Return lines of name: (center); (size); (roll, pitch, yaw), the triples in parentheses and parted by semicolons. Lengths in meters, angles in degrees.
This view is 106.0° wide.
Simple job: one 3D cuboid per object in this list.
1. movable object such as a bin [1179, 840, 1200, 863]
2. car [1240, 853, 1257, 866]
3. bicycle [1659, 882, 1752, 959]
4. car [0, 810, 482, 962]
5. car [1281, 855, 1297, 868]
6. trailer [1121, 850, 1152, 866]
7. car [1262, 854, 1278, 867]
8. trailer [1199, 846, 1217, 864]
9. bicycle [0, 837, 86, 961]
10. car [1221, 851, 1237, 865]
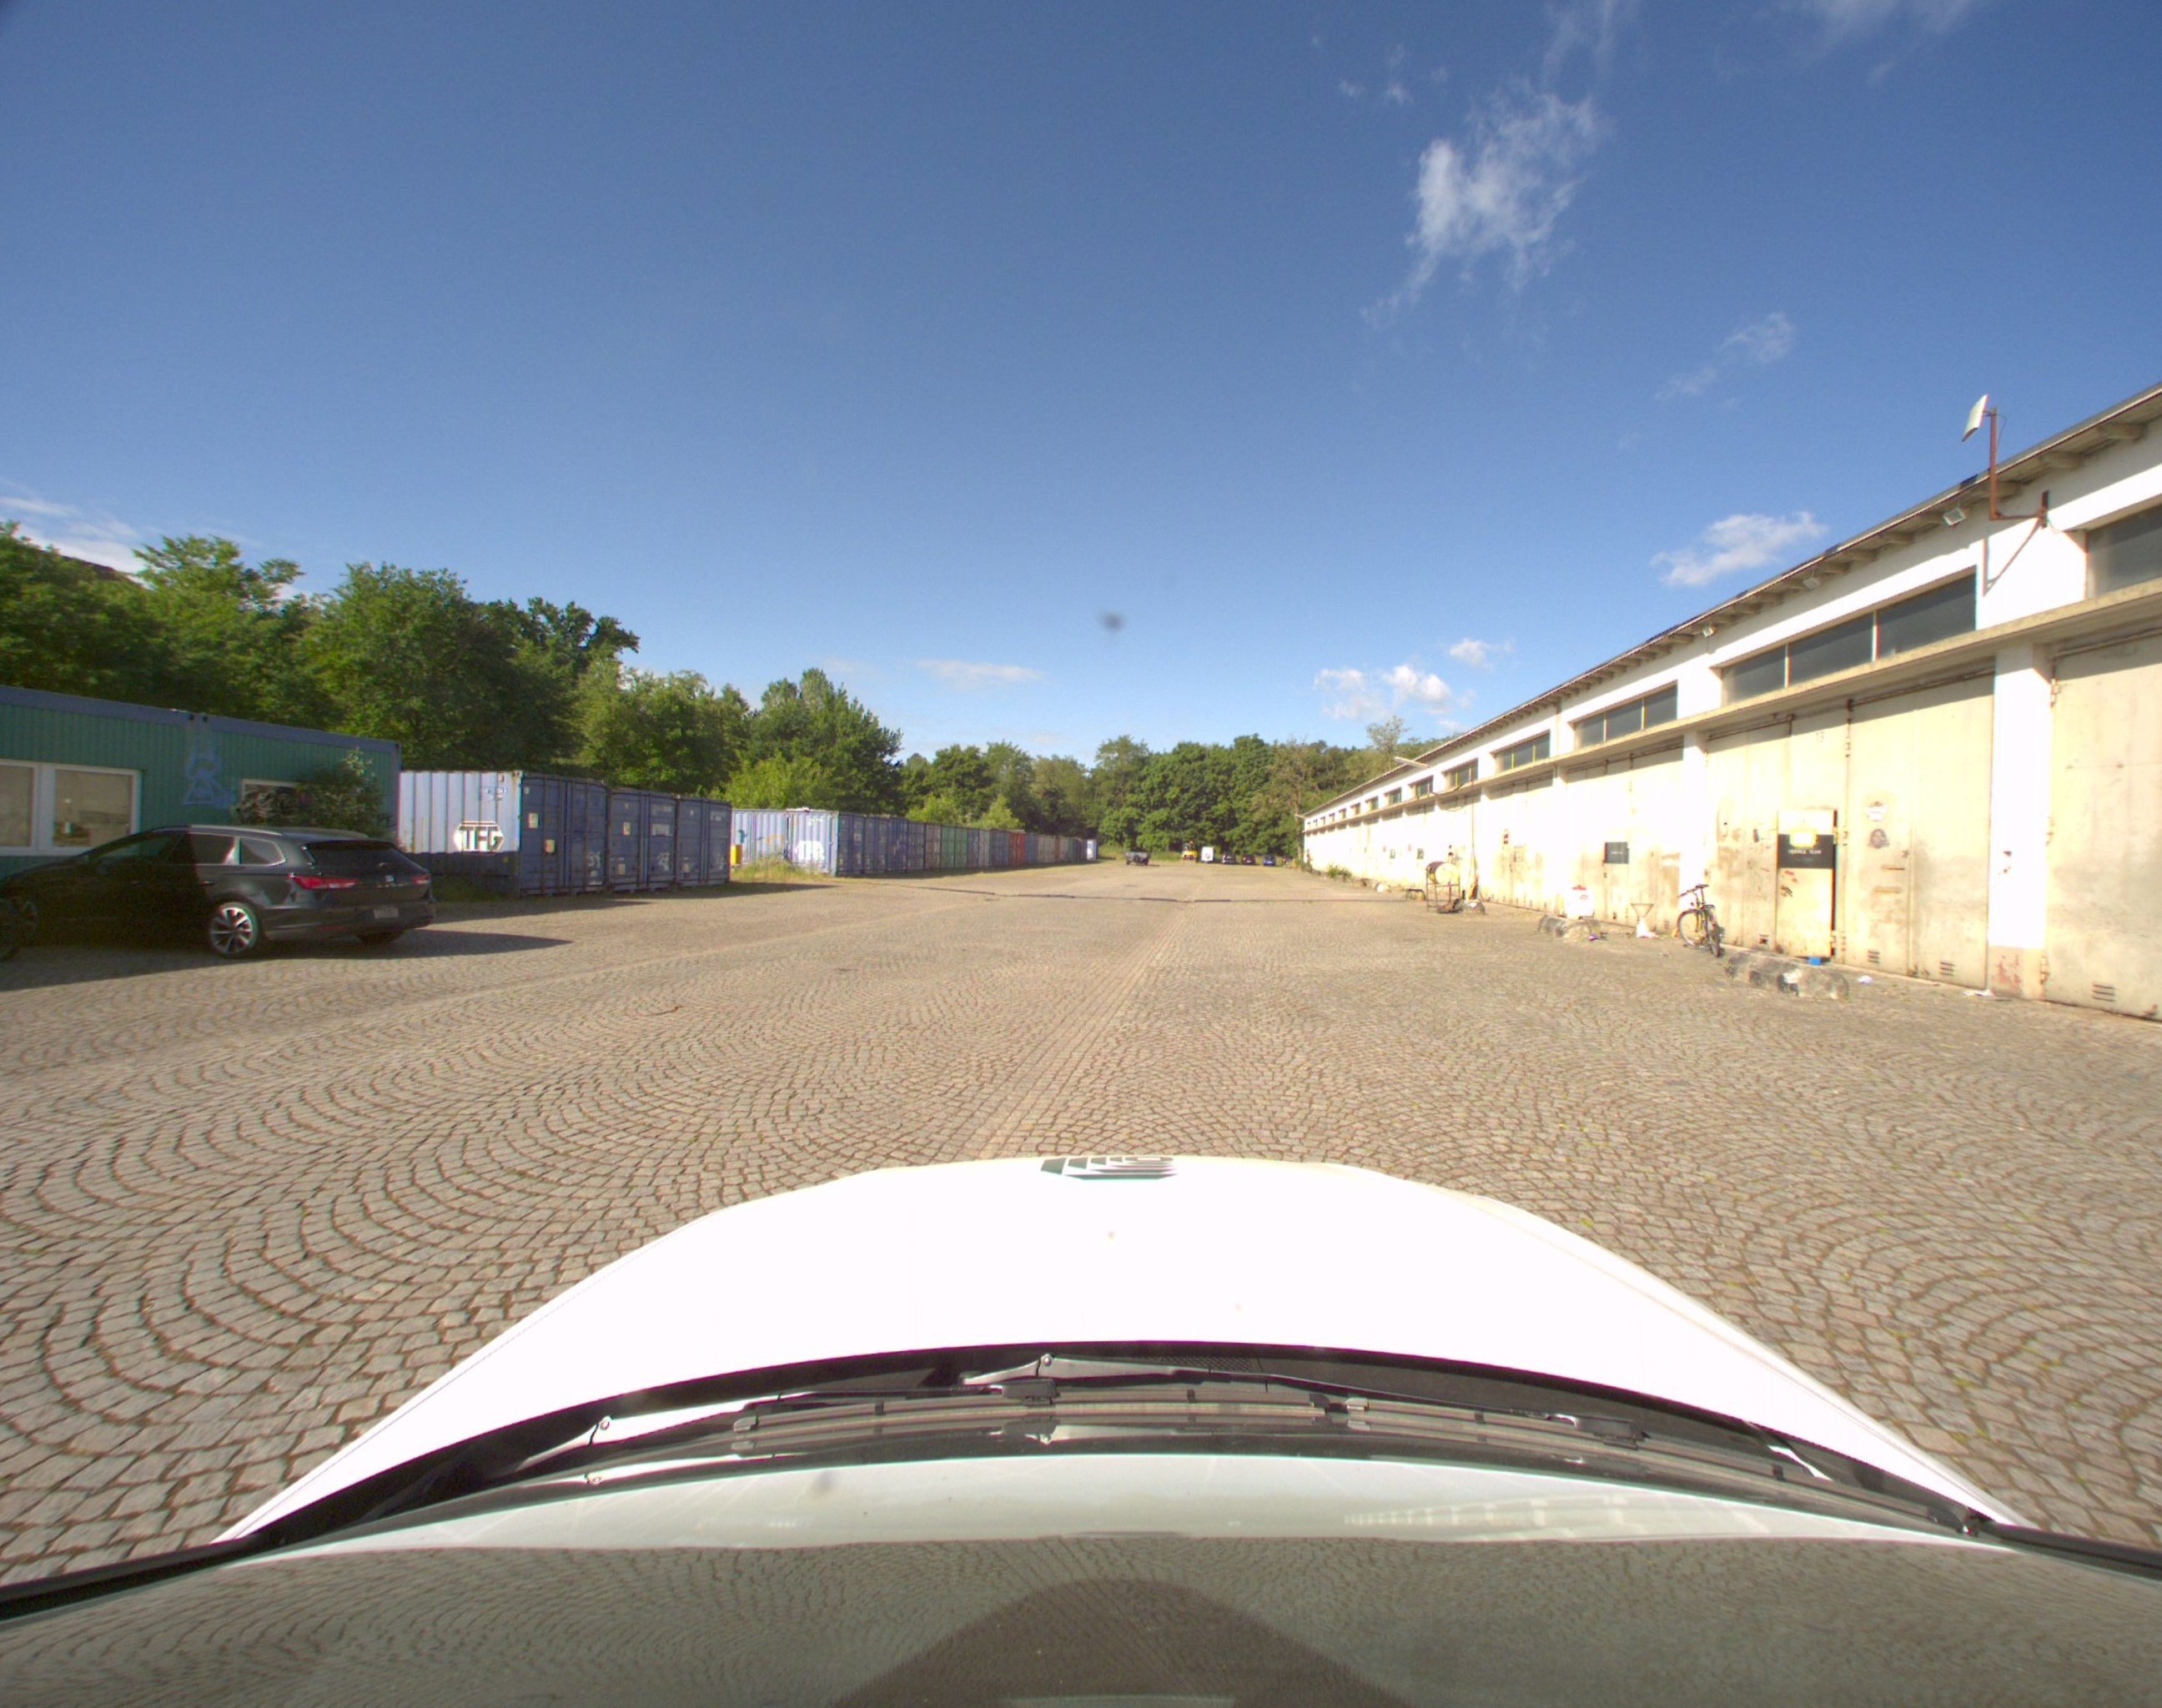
movable object such as a bin: (14.490, -0.367, 108.098); (2.292, 2.896, 5.769); (3, 2, 11)
car: (21.427, 0.722, 104.282); (1.852, 1.470, 4.308); (3, 2, 10)
bicycle: (9.766, 0.997, 12.805); (0.659, 1.068, 1.833); (3, 0, 22)
car: (-10.051, 0.335, 9.886); (4.228, 1.449, 1.935); (3, 0, 7)
car: (26.777, 0.948, 104.753); (1.731, 1.436, 4.202); (3, 2, 17)
trailer: (6.096, 0.428, 88.473); (2.690, 1.465, 6.263); (3, 1, 8)
car: (24.127, 0.865, 103.766); (1.731, 1.436, 4.200); (3, 2, 15)
trailer: (16.704, 0.111, 107.122); (2.180, 2.094, 5.767); (3, 2, 10)
bicycle: (-11.313, 0.412, 8.237); (1.794, 1.170, 0.670); (3, 0, 7)
car: (18.926, 0.543, 104.328); (1.852, 1.589, 4.308); (3, 2, 10)
